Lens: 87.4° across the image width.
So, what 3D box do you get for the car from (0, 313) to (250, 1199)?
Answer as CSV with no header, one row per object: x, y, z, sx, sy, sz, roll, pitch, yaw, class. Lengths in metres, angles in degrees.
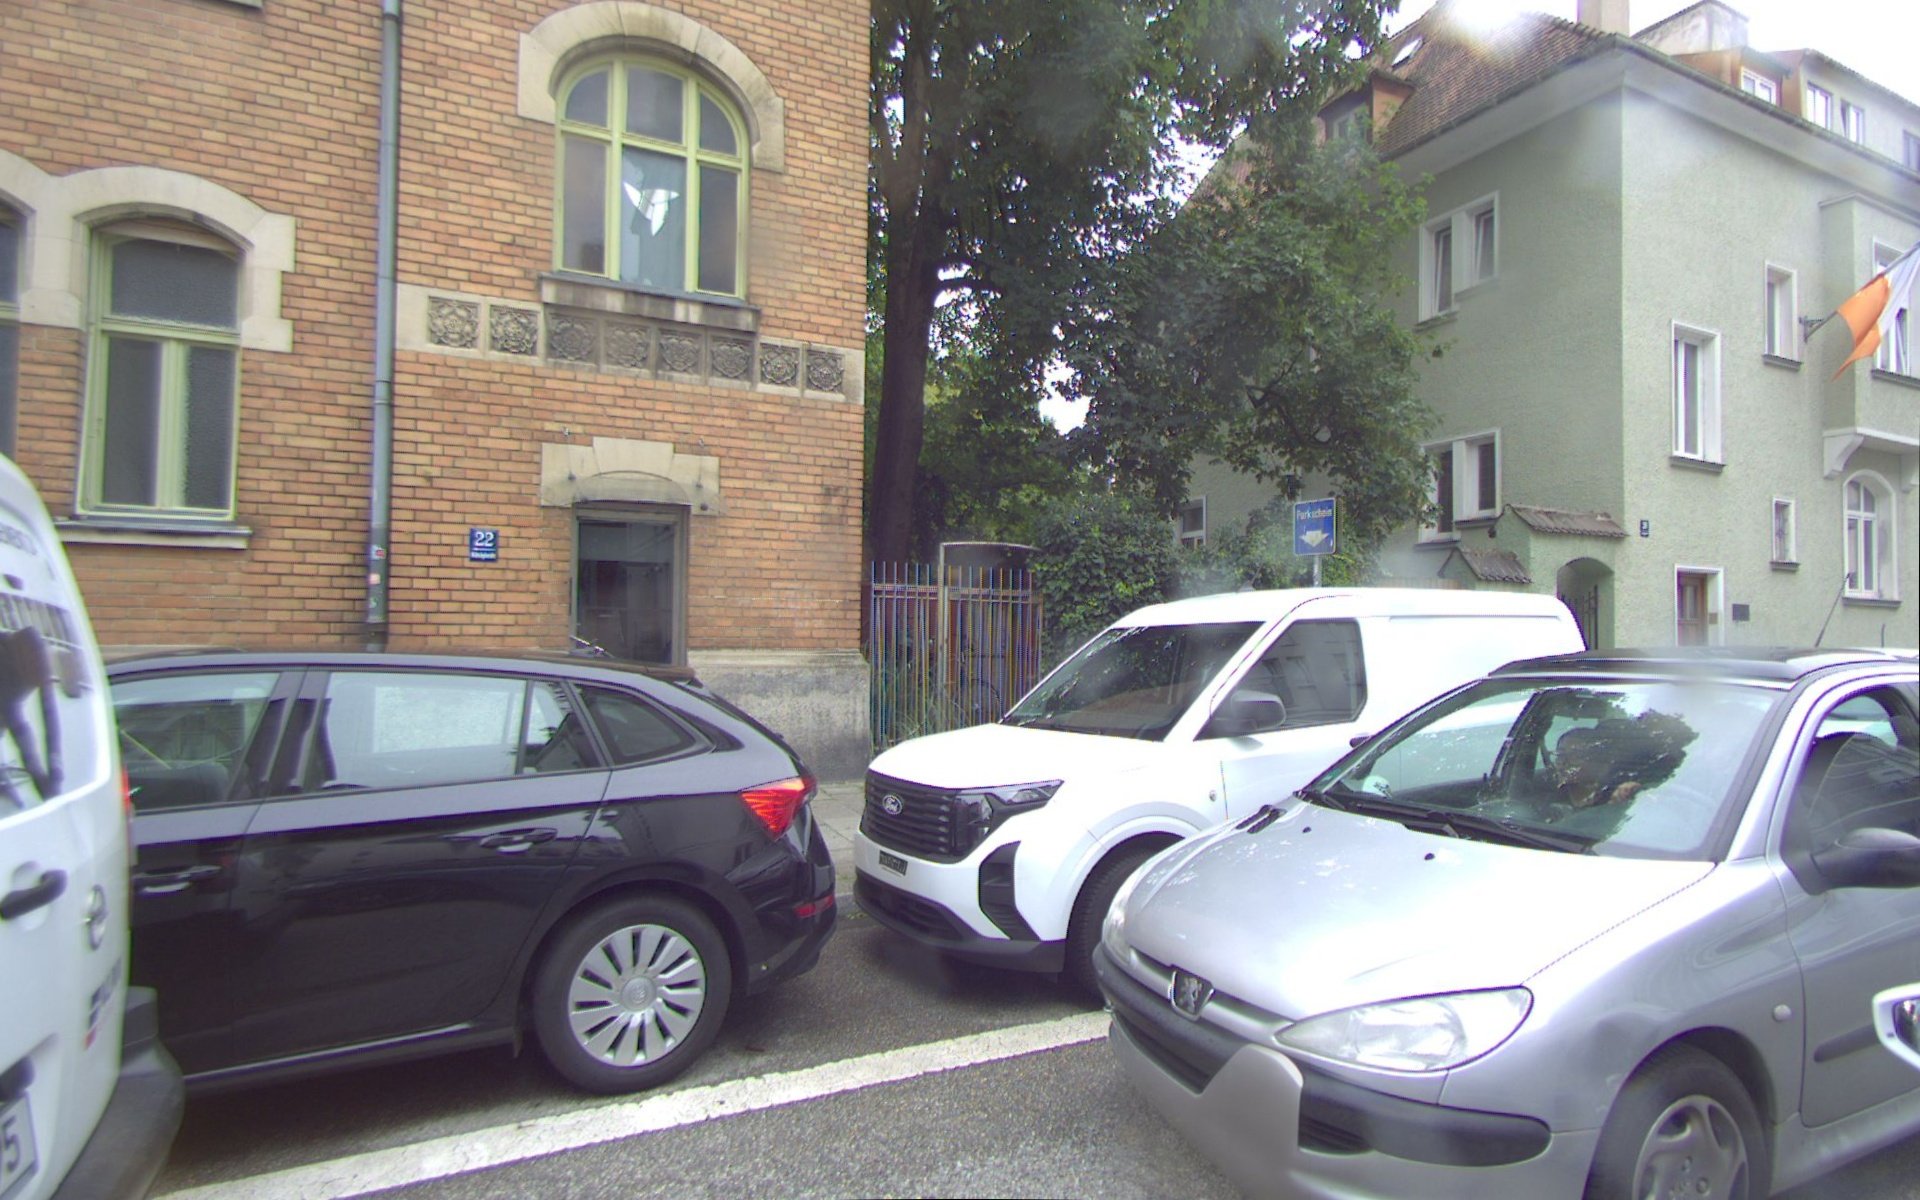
-3.352,0.545,0.595,4.513,1.827,1.765,1,-1,-27,car

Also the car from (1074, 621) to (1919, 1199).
2.303,0.840,3.277,3.565,1.429,1.576,2,-3,-26,car

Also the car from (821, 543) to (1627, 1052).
1.480,0.798,5.353,4.093,1.827,1.684,1,-4,-28,car

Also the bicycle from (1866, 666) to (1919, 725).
16.417,1.638,17.376,1.906,0.919,0.520,1,1,-30,bicycle

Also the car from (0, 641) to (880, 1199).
-2.477,0.889,3.448,4.091,1.461,1.684,1,-4,-27,car

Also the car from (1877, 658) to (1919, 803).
11.685,1.338,10.441,4.280,1.430,1.854,2,-4,-28,car

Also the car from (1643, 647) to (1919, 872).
7.215,1.132,8.092,3.272,1.485,1.468,2,-3,-28,car
